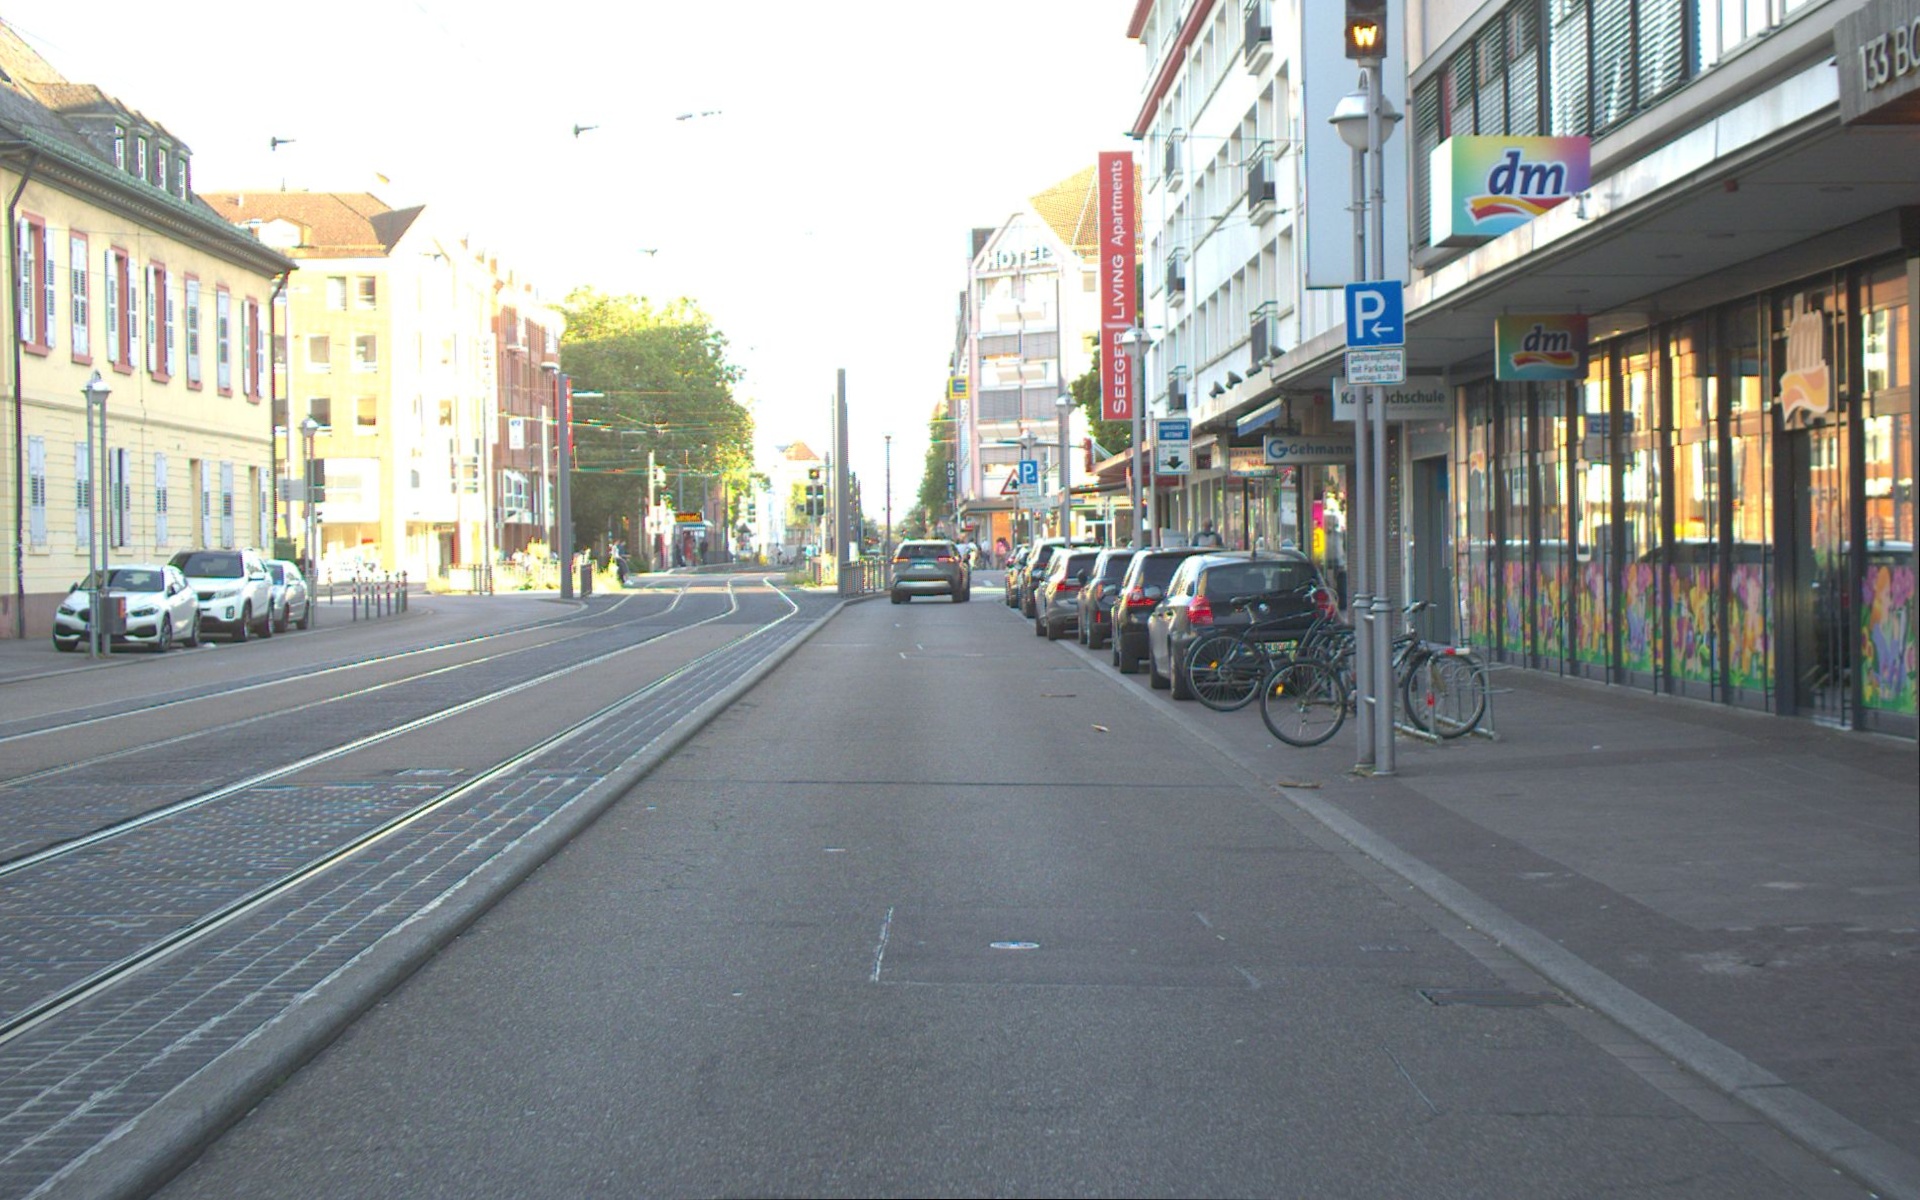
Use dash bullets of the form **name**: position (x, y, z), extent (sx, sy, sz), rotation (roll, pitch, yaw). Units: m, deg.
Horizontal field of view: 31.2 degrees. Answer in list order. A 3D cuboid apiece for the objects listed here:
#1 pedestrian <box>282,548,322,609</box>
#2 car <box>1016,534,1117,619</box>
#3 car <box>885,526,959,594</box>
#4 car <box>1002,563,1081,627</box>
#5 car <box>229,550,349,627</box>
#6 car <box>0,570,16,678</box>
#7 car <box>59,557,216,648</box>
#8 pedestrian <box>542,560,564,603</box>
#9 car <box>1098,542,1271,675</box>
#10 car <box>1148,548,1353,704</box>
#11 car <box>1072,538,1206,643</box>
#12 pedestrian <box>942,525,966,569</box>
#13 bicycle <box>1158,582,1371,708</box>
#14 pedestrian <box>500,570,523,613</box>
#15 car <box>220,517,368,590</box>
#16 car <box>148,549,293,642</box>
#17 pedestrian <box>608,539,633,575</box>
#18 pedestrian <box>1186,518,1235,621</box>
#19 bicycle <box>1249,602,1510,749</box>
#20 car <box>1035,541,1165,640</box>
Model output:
- **pedestrian**: position (-16.805, -0.555, 87.800), extent (0.799, 1.536, 0.877), rotation (1, 0, 1)
- **car**: position (2.196, -0.493, 71.729), extent (1.856, 1.695, 4.418), rotation (1, 0, -1)
- **car**: position (-0.985, -1.041, 91.180), extent (1.835, 1.630, 4.090), rotation (-2, -1, 0)
- **car**: position (1.853, -0.129, 78.918), extent (1.651, 1.416, 4.191), rotation (1, 0, -1)
- **car**: position (-13.803, -0.257, 70.893), extent (1.748, 1.469, 4.000), rotation (1, 1, -1)
- **car**: position (-13.658, 0.331, 44.729), extent (1.692, 1.420, 3.965), rotation (1, 1, -1)
- **car**: position (-13.978, 0.022, 58.626), extent (1.721, 1.448, 4.284), rotation (1, 1, -1)
- **pedestrian**: position (-13.211, -0.605, 111.726), extent (0.663, 1.370, 0.652), rotation (0, 1, -3)
- **car**: position (2.675, 0.080, 41.755), extent (1.765, 1.508, 4.072), rotation (1, 0, -1)
- **car**: position (2.865, 0.230, 34.596), extent (1.654, 1.458, 4.023), rotation (1, 0, -1)
- **car**: position (2.636, -0.147, 51.290), extent (1.726, 1.476, 4.000), rotation (1, 0, -1)
- **pedestrian**: position (-0.240, -2.088, 134.914), extent (0.874, 1.700, 0.700), rotation (1, 0, 2)
- **bicycle**: position (2.764, 0.402, 31.278), extent (1.839, 1.106, 0.642), rotation (1, 0, -3)
- **pedestrian**: position (-14.551, -0.289, 111.527), extent (0.663, 1.370, 0.652), rotation (-1, 1, -3)
- **car**: position (-19.178, -1.338, 98.938), extent (3.986, 2.007, 2.001), rotation (-1, 1, -17)
- **car**: position (-13.880, -0.111, 64.764), extent (1.886, 1.655, 4.762), rotation (1, 1, -3)
- **pedestrian**: position (-13.146, -1.650, 132.968), extent (0.903, 1.370, 0.854), rotation (-1, 0, -3)
- **pedestrian**: position (4.637, -0.568, 63.645), extent (0.774, 1.874, 0.935), rotation (-1, 0, -2)
- **bicycle**: position (3.101, 0.553, 25.488), extent (1.794, 0.969, 0.576), rotation (-3, 1, -3)
- **car**: position (2.268, -0.170, 56.768), extent (1.791, 1.528, 4.857), rotation (1, 0, -2)
